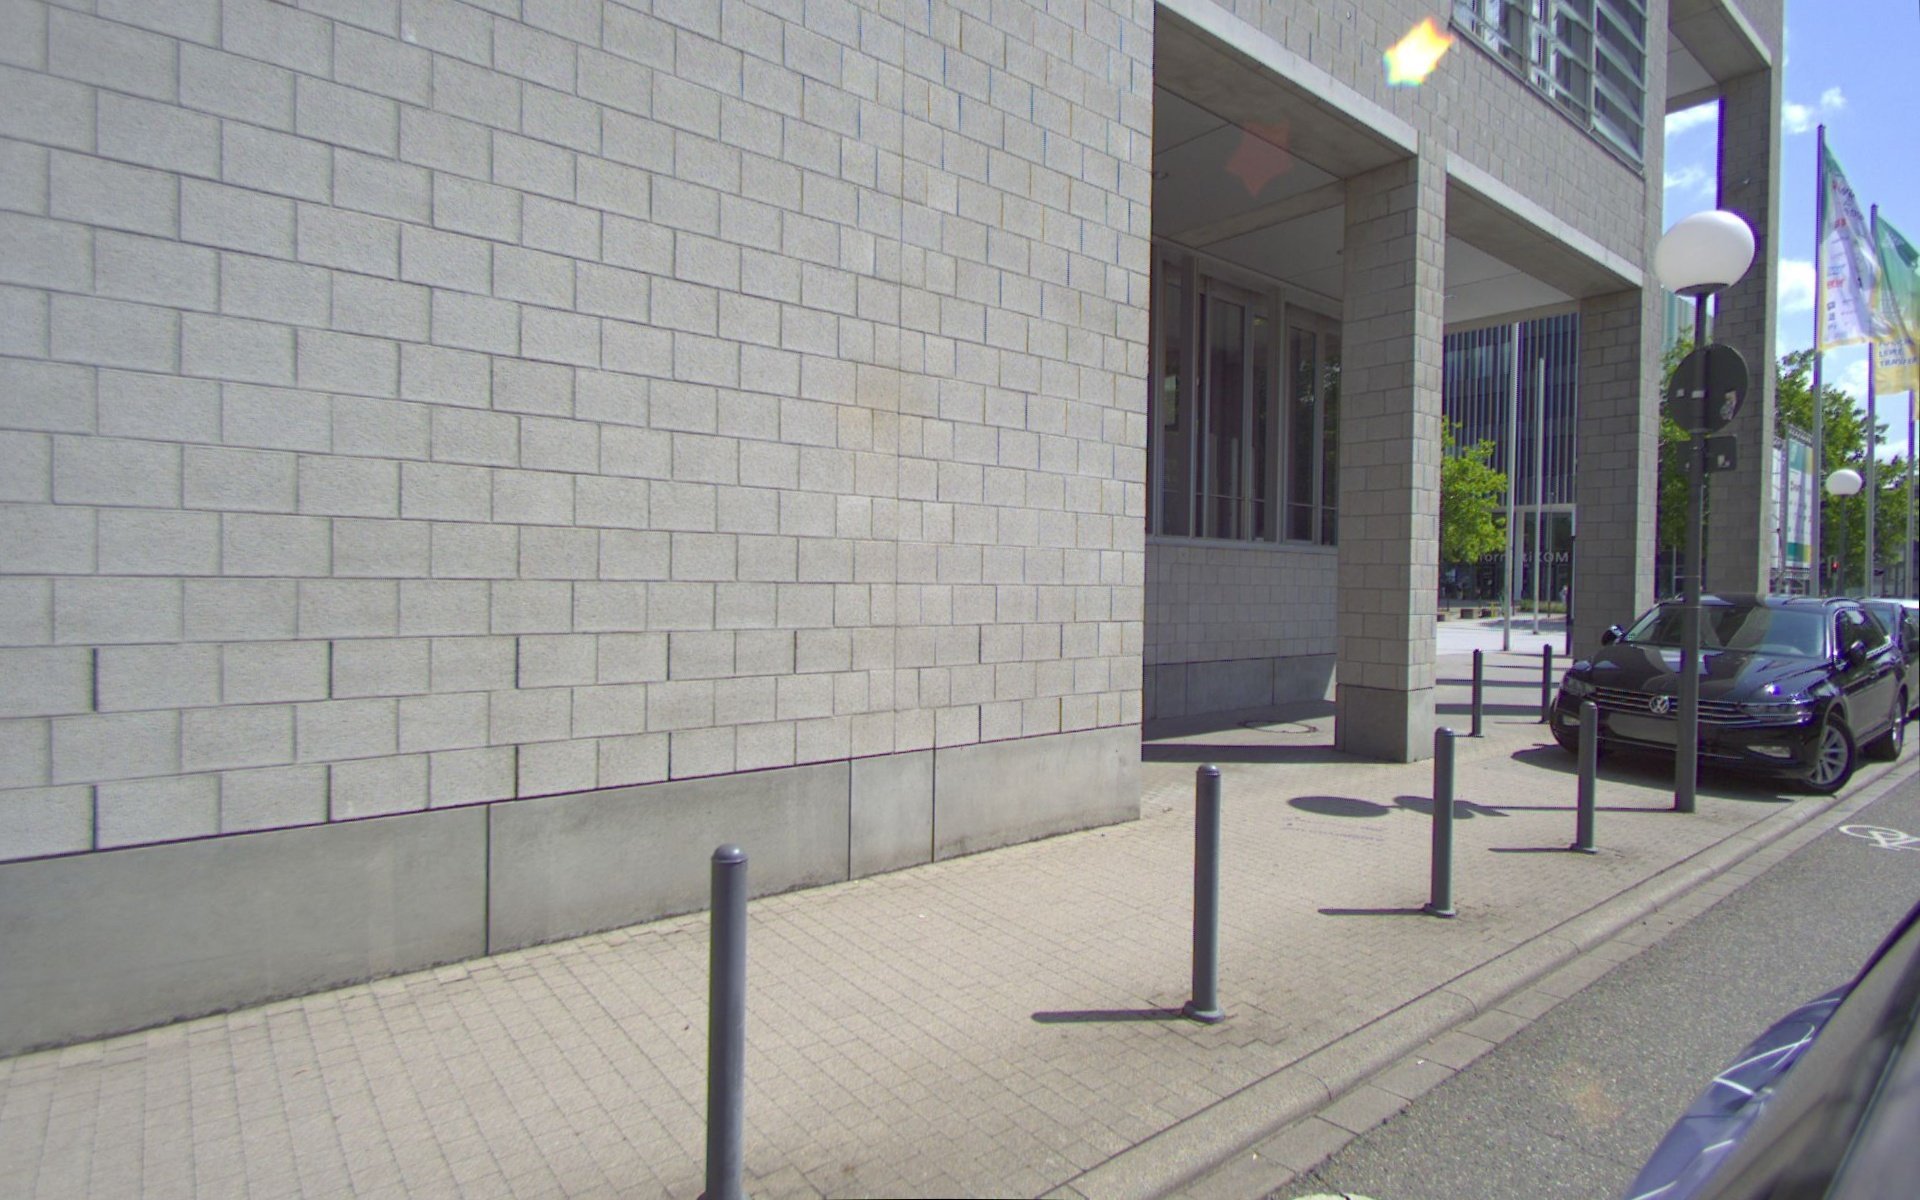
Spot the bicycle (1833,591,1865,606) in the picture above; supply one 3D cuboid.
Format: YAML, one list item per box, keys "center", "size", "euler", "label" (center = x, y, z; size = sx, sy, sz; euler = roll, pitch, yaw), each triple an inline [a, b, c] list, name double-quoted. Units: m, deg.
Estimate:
- center: [59.912, -0.108, 68.236]
  size: [0.519, 0.967, 1.774]
  euler: [0, 2, -1]
  label: "bicycle"

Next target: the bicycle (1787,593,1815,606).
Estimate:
- center: [63.259, -0.051, 76.128]
  size: [0.519, 0.967, 1.774]
  euler: [0, 2, -1]
  label: "bicycle"

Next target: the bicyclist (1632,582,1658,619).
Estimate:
- center: [30.335, 0.027, 44.811]
  size: [0.863, 1.589, 0.682]
  euler: [2, 0, -39]
  label: "bicyclist"

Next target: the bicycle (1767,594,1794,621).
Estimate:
- center: [37.170, 0.316, 45.826]
  size: [0.815, 1.085, 1.863]
  euler: [4, 5, 42]
  label: "bicycle"

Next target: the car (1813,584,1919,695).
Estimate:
- center: [15.351, 0.568, 16.395]
  size: [4.489, 1.548, 1.722]
  euler: [0, 3, -42]
  label: "car"

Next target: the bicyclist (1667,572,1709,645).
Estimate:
- center: [13.844, 0.156, 19.261]
  size: [0.604, 1.337, 0.733]
  euler: [2, 0, 36]
  label: "bicyclist"

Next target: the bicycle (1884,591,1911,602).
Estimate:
- center: [88.826, -0.359, 95.922]
  size: [1.754, 0.967, 0.525]
  euler: [1, 3, 24]
  label: "bicycle"

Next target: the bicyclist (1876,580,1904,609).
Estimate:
- center: [53.884, -0.315, 58.622]
  size: [0.988, 1.635, 0.652]
  euler: [1, 1, 23]
  label: "bicyclist"

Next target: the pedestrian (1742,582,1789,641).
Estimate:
- center: [24.757, 0.330, 31.098]
  size: [0.983, 1.761, 0.920]
  euler: [0, 1, -39]
  label: "pedestrian"

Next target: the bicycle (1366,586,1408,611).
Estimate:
- center: [22.707, -0.091, 53.869]
  size: [0.784, 1.197, 2.034]
  euler: [-1, 2, -28]
  label: "bicycle"

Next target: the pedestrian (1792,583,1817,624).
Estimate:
- center: [37.778, 0.156, 45.259]
  size: [0.598, 1.823, 0.597]
  euler: [2, -1, -16]
  label: "pedestrian"

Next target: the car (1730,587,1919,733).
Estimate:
- center: [11.063, 0.608, 12.556]
  size: [3.936, 1.515, 1.617]
  euler: [0, 1, -41]
  label: "car"

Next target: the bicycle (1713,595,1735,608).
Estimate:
- center: [58.553, 0.109, 77.612]
  size: [0.520, 0.967, 1.770]
  euler: [-2, 2, 8]
  label: "bicycle"

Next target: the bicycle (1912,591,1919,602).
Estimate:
- center: [87.534, -0.327, 91.720]
  size: [1.754, 0.967, 0.525]
  euler: [1, 3, 24]
  label: "bicycle"

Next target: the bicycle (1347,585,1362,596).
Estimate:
- center: [37.298, -0.881, 95.662]
  size: [1.514, 0.967, 0.374]
  euler: [-2, 2, -24]
  label: "bicycle"

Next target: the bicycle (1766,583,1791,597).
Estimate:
- center: [61.647, -0.747, 76.222]
  size: [0.520, 0.967, 1.772]
  euler: [0, 2, 5]
  label: "bicycle"

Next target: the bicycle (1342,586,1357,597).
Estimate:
- center: [37.017, -0.822, 96.267]
  size: [1.514, 0.967, 0.374]
  euler: [-2, 2, -24]
  label: "bicycle"

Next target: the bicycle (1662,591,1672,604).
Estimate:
- center: [54.807, -0.188, 78.473]
  size: [0.525, 0.967, 1.754]
  euler: [1, 2, 31]
  label: "bicycle"

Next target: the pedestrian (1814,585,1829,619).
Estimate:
- center: [48.554, 0.098, 57.032]
  size: [0.409, 1.864, 0.574]
  euler: [-1, 2, -43]
  label: "pedestrian"

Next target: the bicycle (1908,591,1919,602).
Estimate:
- center: [87.769, -0.319, 92.331]
  size: [1.754, 0.967, 0.525]
  euler: [1, 3, 24]
  label: "bicycle"

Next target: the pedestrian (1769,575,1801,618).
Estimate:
- center: [37.338, -0.165, 45.782]
  size: [1.156, 1.841, 0.855]
  euler: [-3, 7, -43]
  label: "pedestrian"

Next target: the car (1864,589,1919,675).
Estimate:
- center: [19.141, 0.583, 19.648]
  size: [3.928, 1.548, 1.723]
  euler: [0, 2, -39]
  label: "car"

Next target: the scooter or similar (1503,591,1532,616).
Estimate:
- center: [27.158, 0.172, 49.325]
  size: [0.347, 1.179, 1.192]
  euler: [-2, 3, -38]
  label: "scooter or similar"

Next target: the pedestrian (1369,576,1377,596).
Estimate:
- center: [39.373, -1.363, 96.523]
  size: [0.553, 1.864, 0.553]
  euler: [1, 2, 44]
  label: "pedestrian"

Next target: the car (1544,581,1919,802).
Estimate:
- center: [7.104, 0.598, 9.002]
  size: [4.439, 1.483, 1.870]
  euler: [0, 1, -40]
  label: "car"
